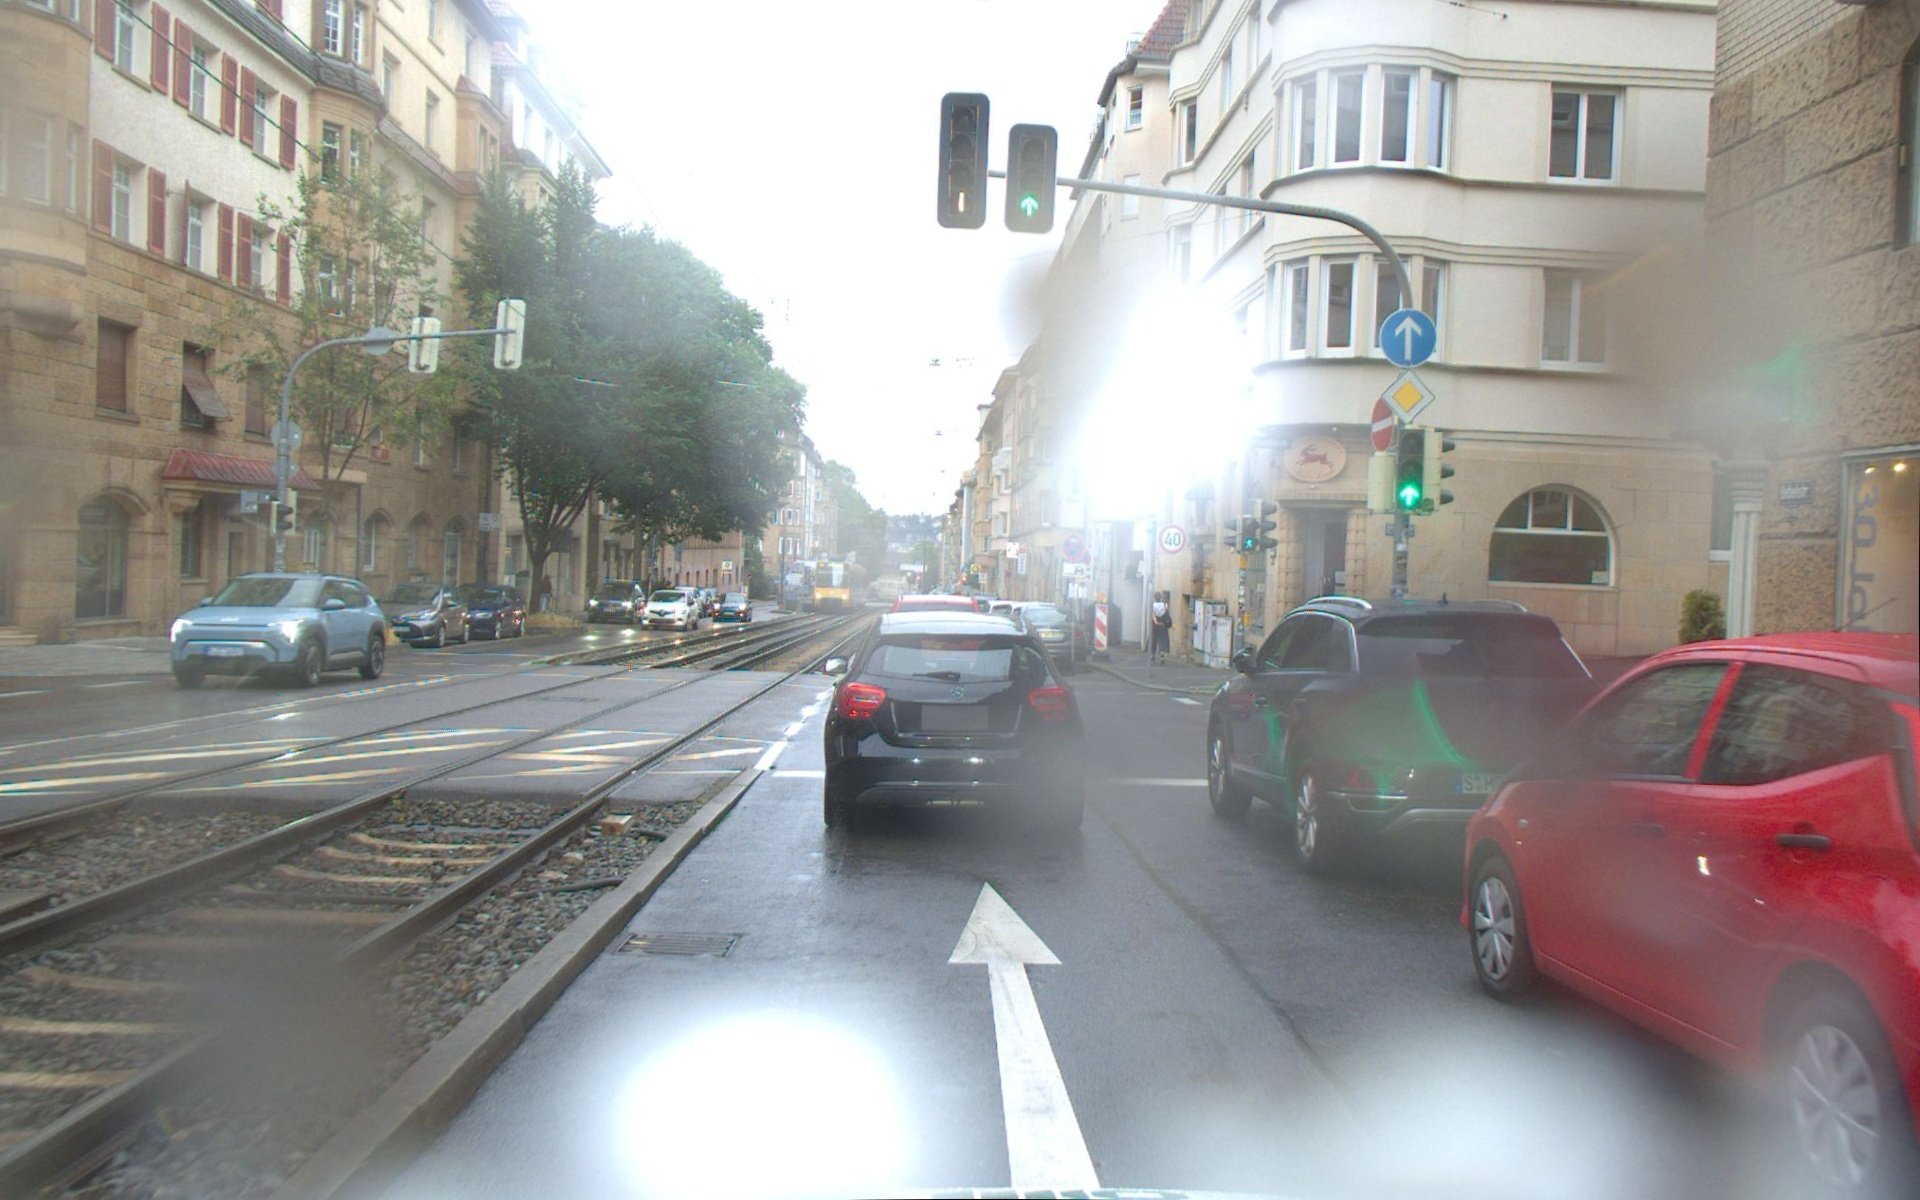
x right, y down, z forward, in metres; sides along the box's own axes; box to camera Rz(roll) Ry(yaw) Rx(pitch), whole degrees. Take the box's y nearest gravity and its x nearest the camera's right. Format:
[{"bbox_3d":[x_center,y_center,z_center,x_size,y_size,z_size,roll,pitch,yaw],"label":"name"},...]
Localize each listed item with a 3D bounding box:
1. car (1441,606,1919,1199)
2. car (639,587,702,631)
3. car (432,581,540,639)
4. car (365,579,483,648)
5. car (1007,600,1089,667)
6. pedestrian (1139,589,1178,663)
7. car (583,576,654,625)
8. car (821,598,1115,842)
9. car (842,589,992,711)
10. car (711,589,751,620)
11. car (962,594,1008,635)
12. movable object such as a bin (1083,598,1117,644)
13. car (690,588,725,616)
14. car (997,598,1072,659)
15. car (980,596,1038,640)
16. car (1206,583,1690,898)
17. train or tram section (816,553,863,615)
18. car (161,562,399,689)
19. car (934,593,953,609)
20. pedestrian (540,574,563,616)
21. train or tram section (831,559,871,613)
[{"bbox_3d":[3.036,0.797,5.427,1.672,1.478,3.530,2,0,-4],"label":"car"},{"bbox_3d":[-10.681,0.330,61.202,1.745,1.529,4.060,1,-1,-3],"label":"car"},{"bbox_3d":[-13.048,0.277,45.819,1.745,1.485,4.975,1,-1,-3],"label":"car"},{"bbox_3d":[-12.972,0.338,40.263,1.656,1.556,4.173,1,-1,-3],"label":"car"},{"bbox_3d":[1.982,0.761,38.452,1.675,1.435,4.817,1,-1,0],"label":"car"},{"bbox_3d":[4.672,0.619,38.996,0.788,1.717,0.754,1,-1,-2],"label":"pedestrian"},{"bbox_3d":[-13.706,0.006,66.617,1.914,1.772,4.776,5,0,-3],"label":"car"},{"bbox_3d":[0.019,0.756,12.256,1.797,1.478,3.901,1,0,-1],"label":"car"},{"bbox_3d":[-0.609,0.678,24.192,1.953,1.552,4.244,2,0,-1],"label":"car"},{"bbox_3d":[-11.197,0.220,81.123,1.620,1.488,3.732,0,0,-3],"label":"car"},{"bbox_3d":[1.057,0.613,69.454,1.803,1.636,4.760,1,-1,1],"label":"car"},{"bbox_3d":[4.631,0.692,54.728,0.960,1.494,1.272,1,-1,-2],"label":"movable object such as a bin"},{"bbox_3d":[-14.161,0.080,92.840,1.540,1.492,3.043,2,0,-3],"label":"car"},{"bbox_3d":[1.917,0.736,43.818,1.677,1.493,4.772,1,-1,-1],"label":"car"},{"bbox_3d":[1.651,0.617,56.875,1.753,1.410,4.393,1,-1,-1],"label":"car"},{"bbox_3d":[2.847,0.740,10.627,1.830,1.576,3.990,2,0,-1],"label":"car"},{"bbox_3d":[-8.655,-1.130,120.649,2.690,4.133,17.207,1,0,-2],"label":"train or tram section"},{"bbox_3d":[-9.752,0.360,24.090,1.883,1.646,4.126,1,-1,-3],"label":"car"},{"bbox_3d":[-1.666,0.144,168.403,1.848,1.552,4.245,2,0,1],"label":"car"},{"bbox_3d":[-16.857,-0.218,68.258,0.713,1.692,0.770,2,0,-2],"label":"pedestrian"},{"bbox_3d":[-8.912,-1.109,136.973,2.690,4.133,15.655,1,0,-2],"label":"train or tram section"}]
